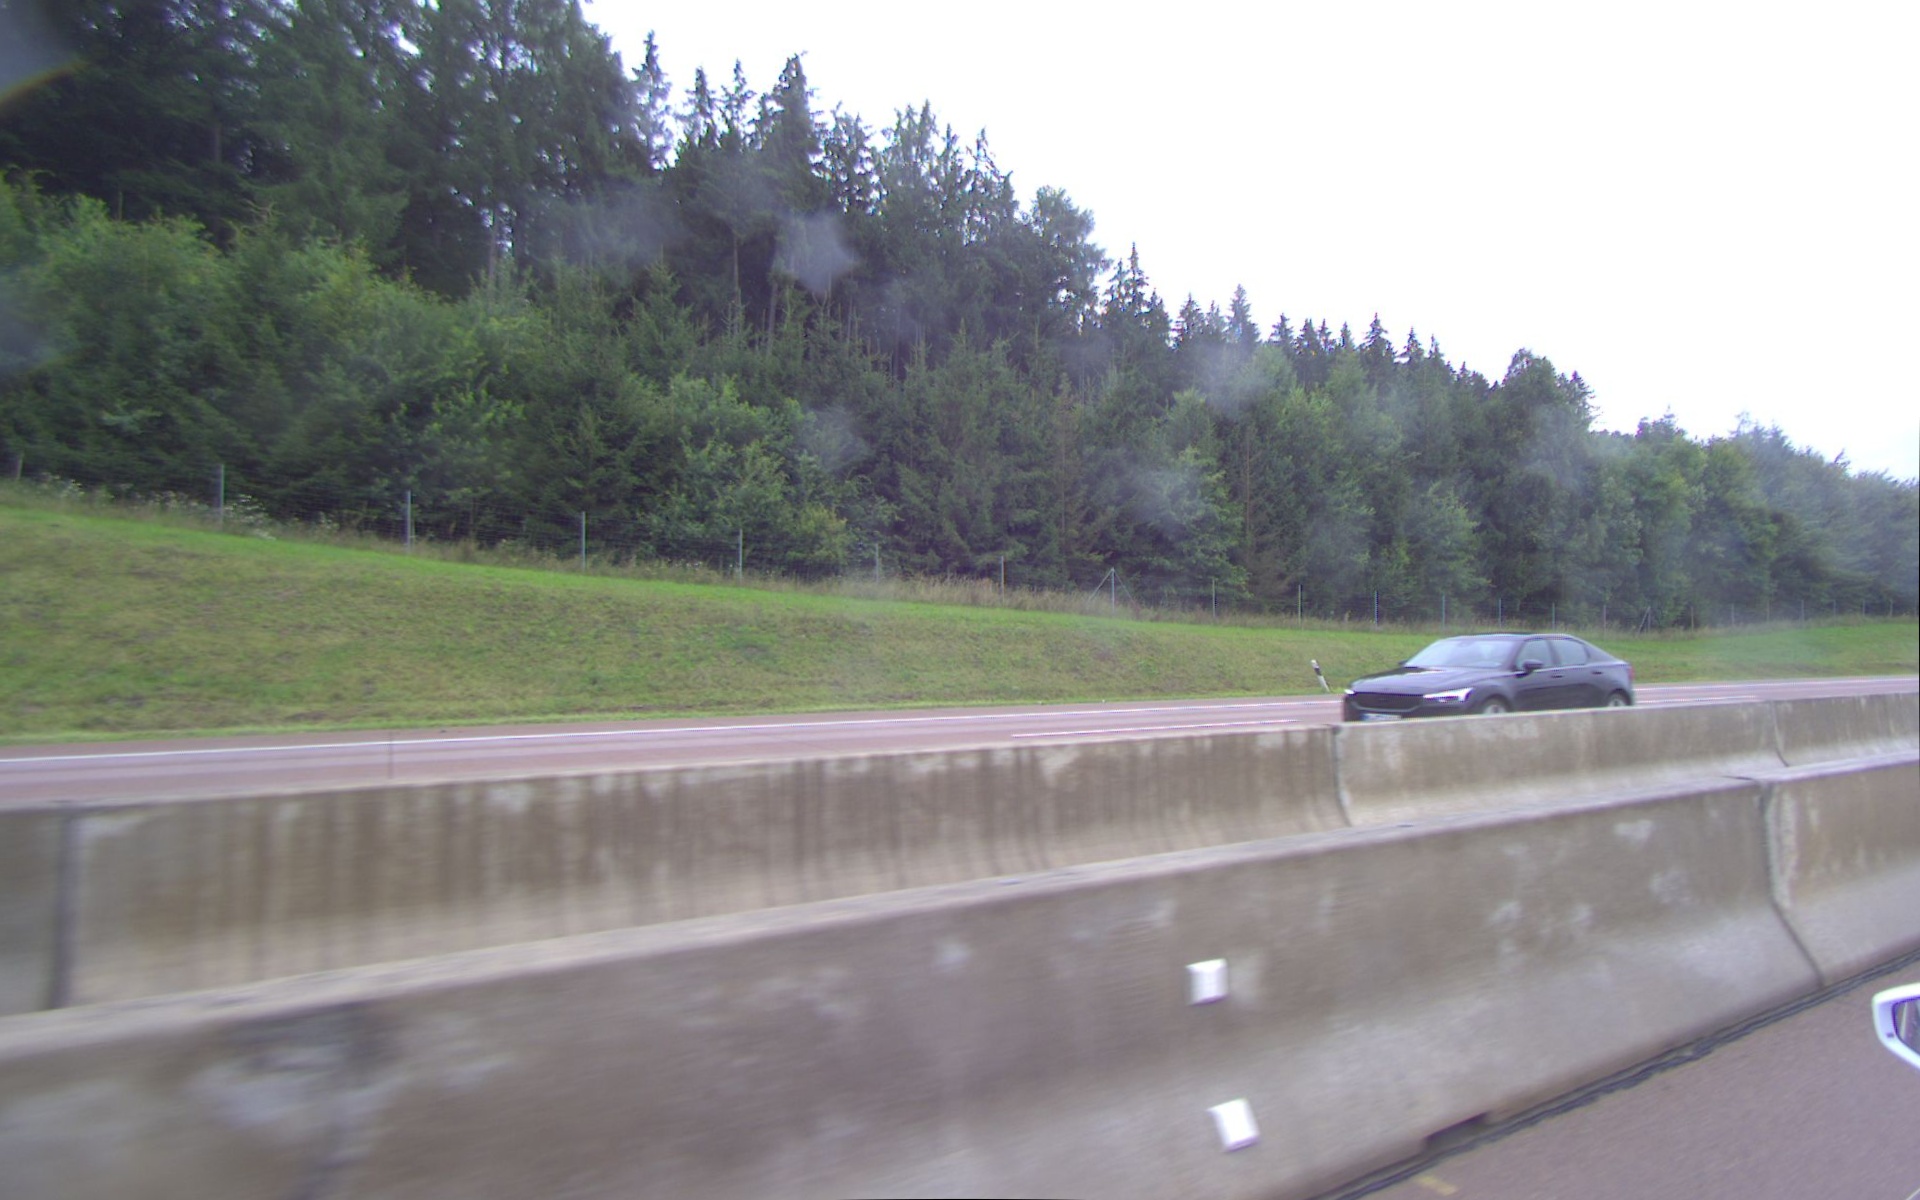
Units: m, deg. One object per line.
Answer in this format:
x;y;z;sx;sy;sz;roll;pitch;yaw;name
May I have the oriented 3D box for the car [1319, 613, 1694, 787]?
7.271;1.228;13.180;5.257;1.881;1.768;3;0;-29;car
